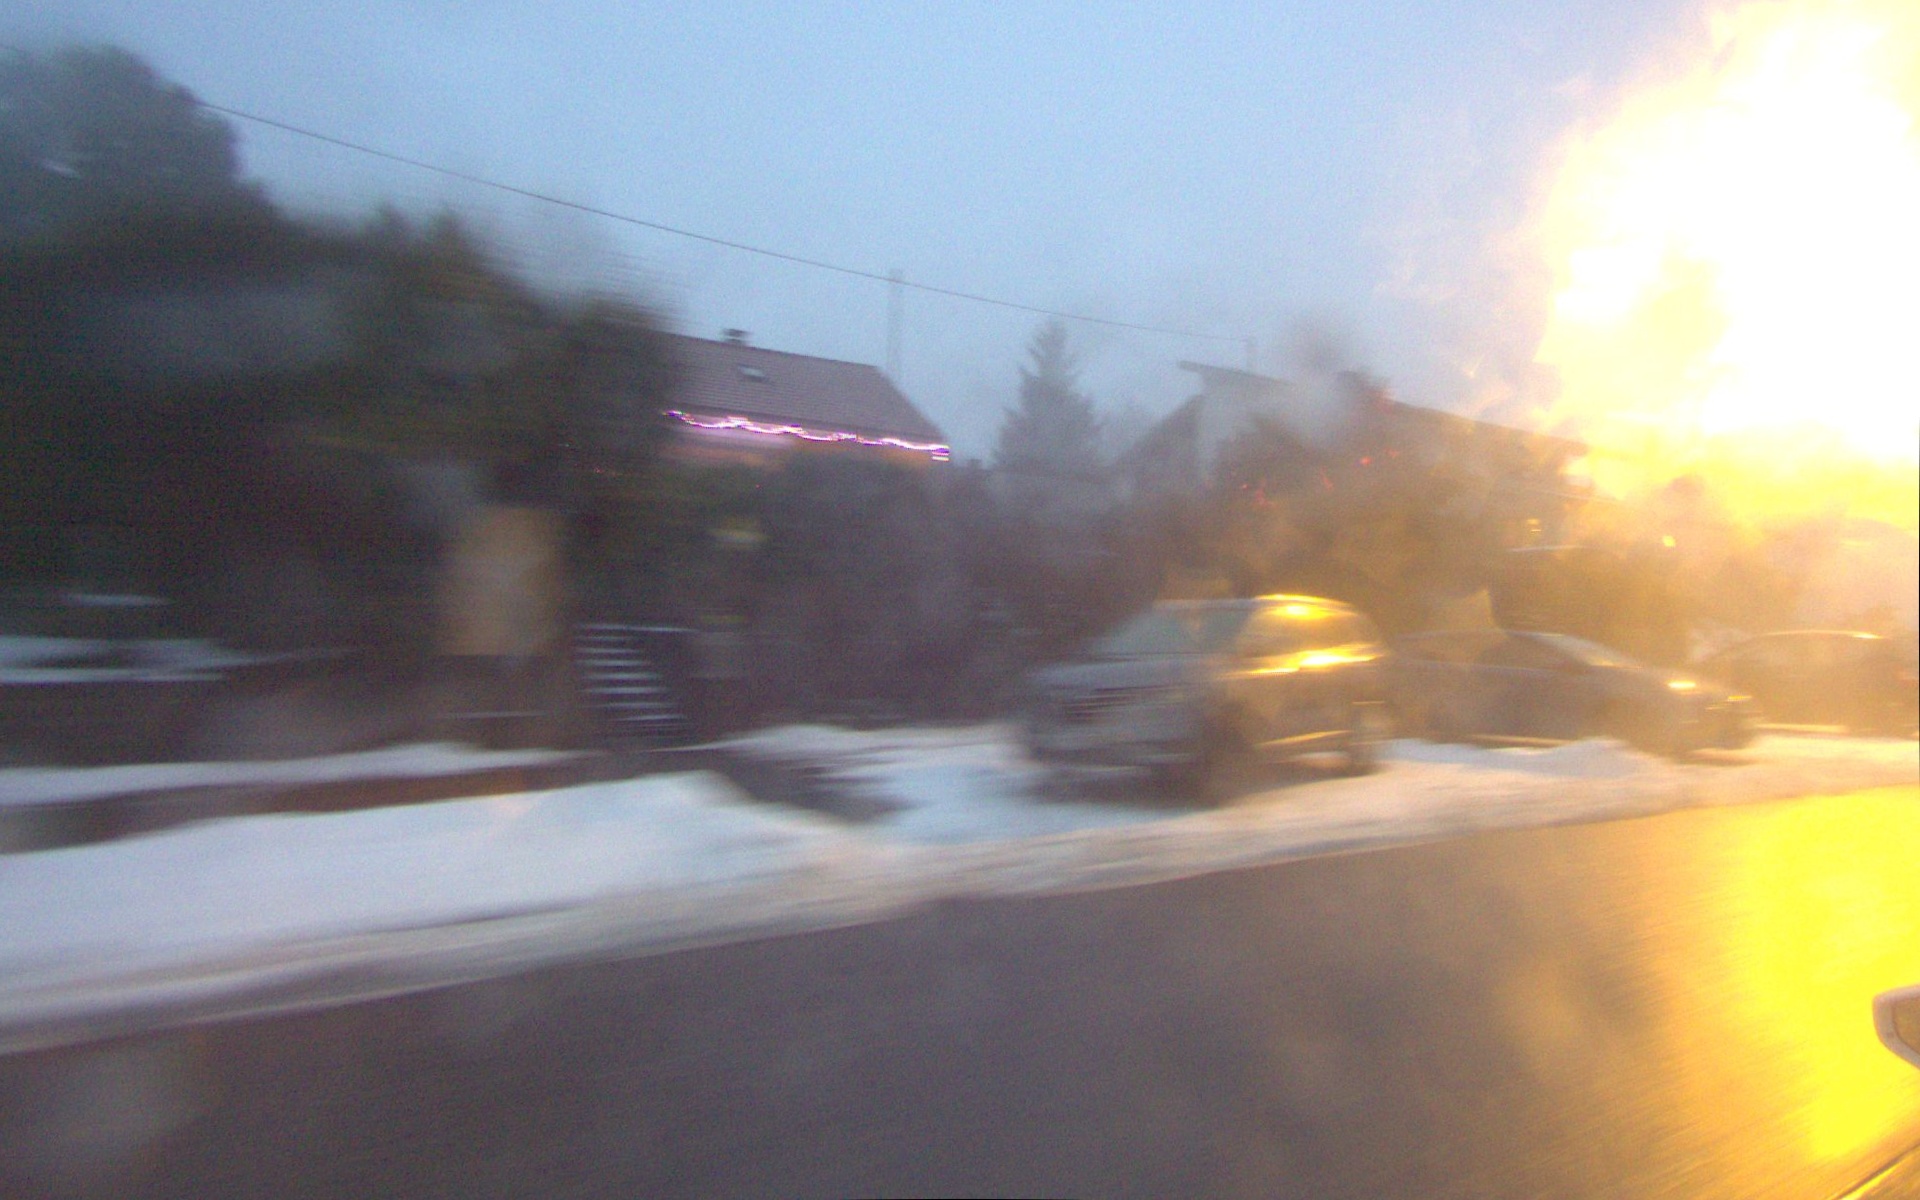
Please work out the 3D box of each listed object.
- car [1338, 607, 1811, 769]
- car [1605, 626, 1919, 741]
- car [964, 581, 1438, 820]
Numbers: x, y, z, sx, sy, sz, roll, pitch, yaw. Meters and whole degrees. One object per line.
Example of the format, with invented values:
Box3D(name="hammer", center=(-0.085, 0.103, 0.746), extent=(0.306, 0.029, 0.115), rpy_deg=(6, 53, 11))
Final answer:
Box3D(name="car", center=(7.225, 0.968, 12.297), extent=(2.090, 1.587, 4.498), rpy_deg=(2, -3, -35))
Box3D(name="car", center=(12.241, 1.176, 15.113), extent=(1.917, 1.491, 3.835), rpy_deg=(2, -3, -31))
Box3D(name="car", center=(2.448, 0.814, 9.162), extent=(1.973, 1.586, 4.968), rpy_deg=(-4, -5, 44))
